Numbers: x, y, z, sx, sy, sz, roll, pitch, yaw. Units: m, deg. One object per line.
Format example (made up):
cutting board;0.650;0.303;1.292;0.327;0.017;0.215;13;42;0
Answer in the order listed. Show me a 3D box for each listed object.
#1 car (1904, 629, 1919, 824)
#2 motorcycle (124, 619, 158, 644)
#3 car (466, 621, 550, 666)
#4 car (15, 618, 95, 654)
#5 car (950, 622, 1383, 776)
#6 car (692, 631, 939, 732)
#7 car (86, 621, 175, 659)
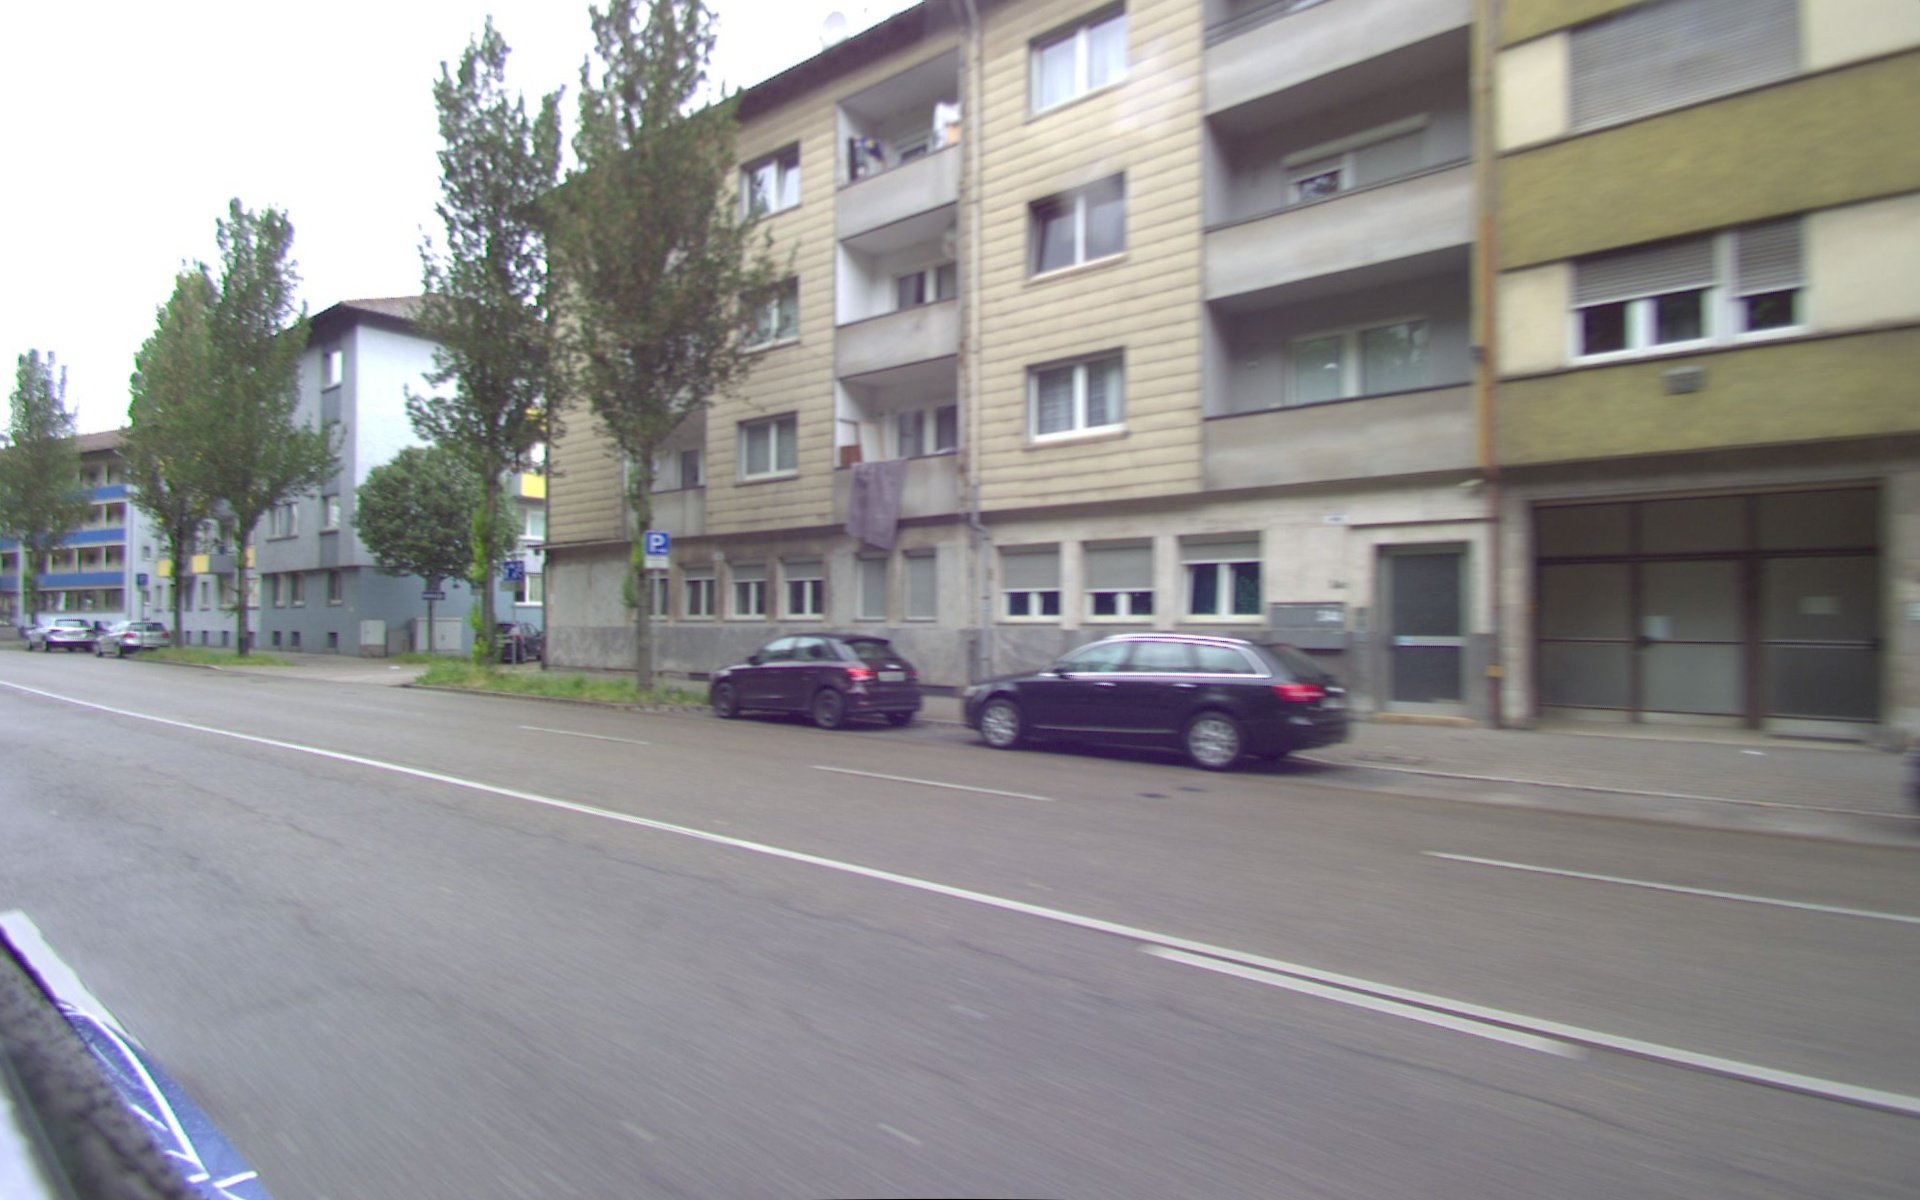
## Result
car;9.183;0.946;6.432;4.510;1.500;1.701;-2;-4;40
motorcycle;-48.033;1.862;59.334;2.224;1.424;0.671;-1;0;27
car;-16.370;1.558;36.821;1.686;1.505;4.007;2;-2;-8
car;-42.460;1.705;47.455;4.522;1.616;1.749;-1;-3;35
car;2.301;1.063;12.089;4.783;1.500;1.800;-2;-4;38
car;-2.357;1.210;16.000;3.985;1.397;1.609;-2;-3;40
car;-33.503;1.615;40.850;4.196;1.464;1.709;-1;-3;35
